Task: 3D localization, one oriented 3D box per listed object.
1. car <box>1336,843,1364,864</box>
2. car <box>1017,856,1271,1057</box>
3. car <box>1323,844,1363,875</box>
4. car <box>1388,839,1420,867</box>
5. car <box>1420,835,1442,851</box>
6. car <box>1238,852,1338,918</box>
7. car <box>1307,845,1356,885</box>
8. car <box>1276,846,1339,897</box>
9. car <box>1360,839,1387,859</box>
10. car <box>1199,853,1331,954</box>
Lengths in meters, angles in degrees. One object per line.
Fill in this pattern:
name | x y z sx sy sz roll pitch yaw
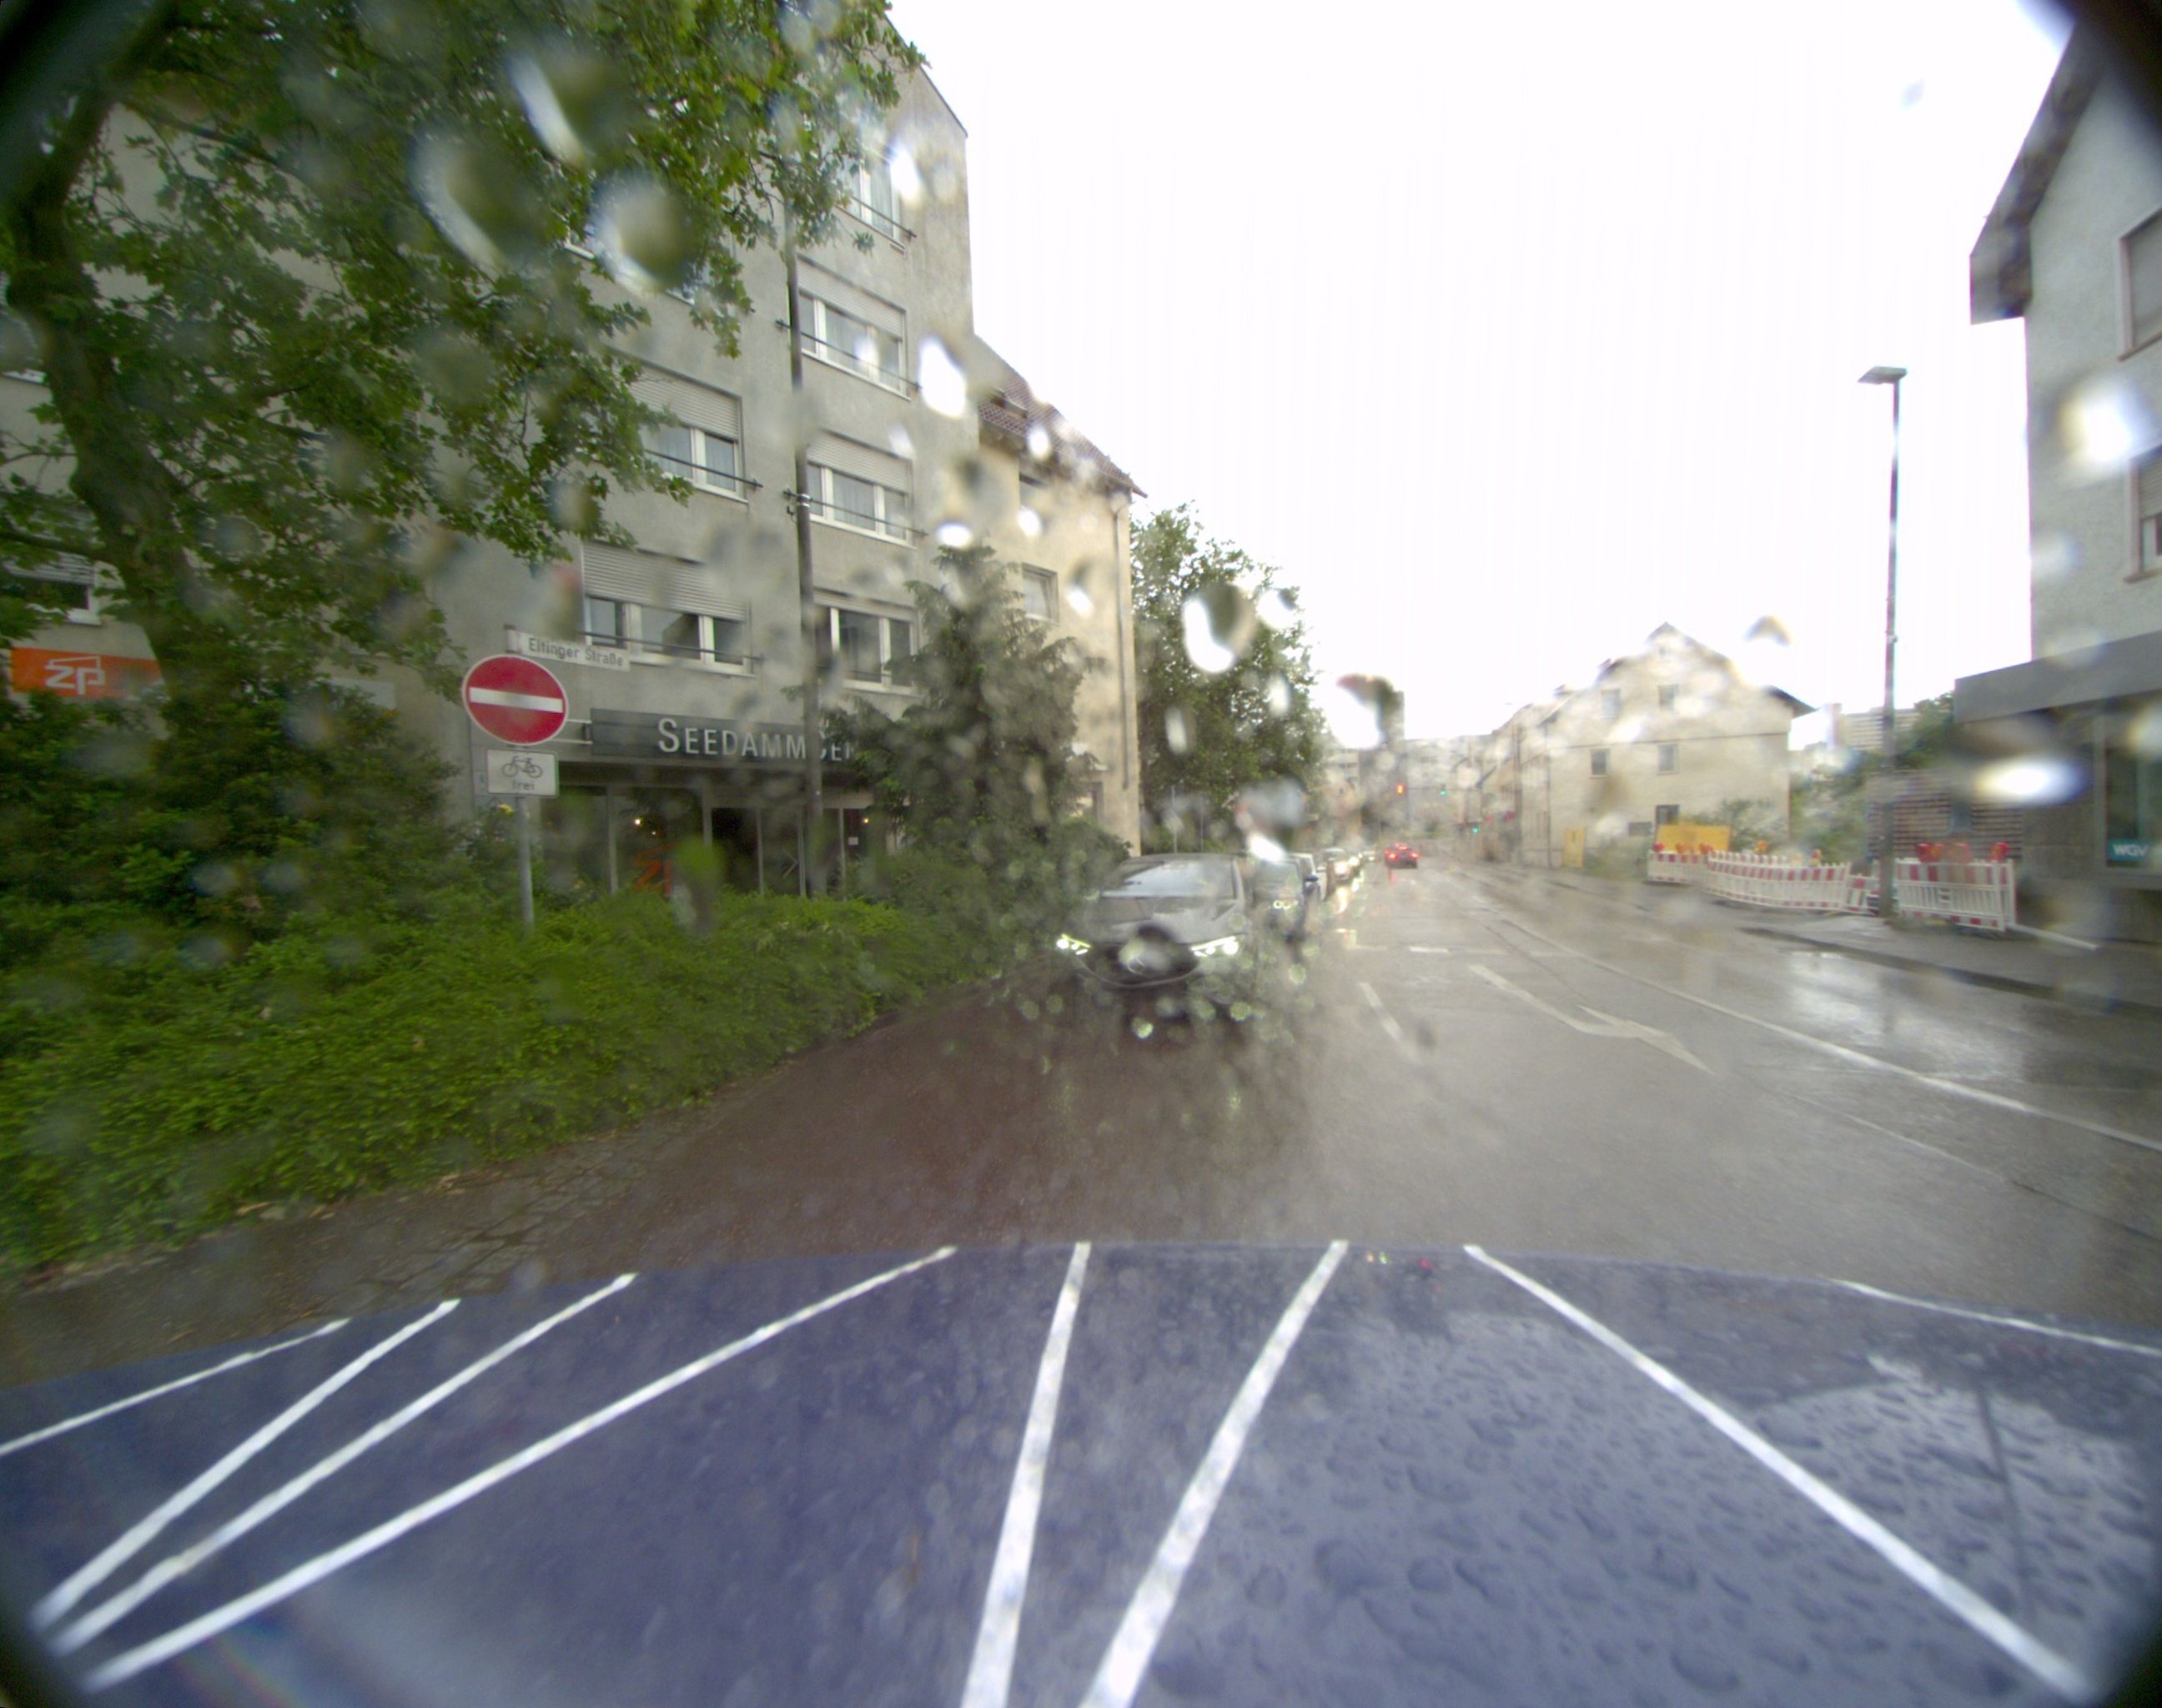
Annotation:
car | 19.881 -0.043 56.295 1.851 1.469 4.005 -2 0 19
car | 0.994 0.835 8.175 1.996 1.484 4.318 -2 0 14
car | 14.580 0.269 42.164 1.829 1.543 4.006 -3 0 21
car | 21.488 -0.072 50.720 1.810 1.557 4.004 -3 2 22
car | 35.523 -1.110 77.157 1.810 1.556 4.005 0 1 22
car | 5.645 0.765 20.368 1.995 1.444 4.006 -3 1 23
car | 11.250 0.434 33.932 1.842 1.612 4.006 -2 0 21
car | 8.013 0.549 26.679 1.811 1.556 4.005 -3 0 20
car | 26.370 -0.413 68.637 1.996 1.542 4.007 -1 -2 17
car | 3.632 0.809 14.363 1.771 1.524 4.384 -2 0 22
